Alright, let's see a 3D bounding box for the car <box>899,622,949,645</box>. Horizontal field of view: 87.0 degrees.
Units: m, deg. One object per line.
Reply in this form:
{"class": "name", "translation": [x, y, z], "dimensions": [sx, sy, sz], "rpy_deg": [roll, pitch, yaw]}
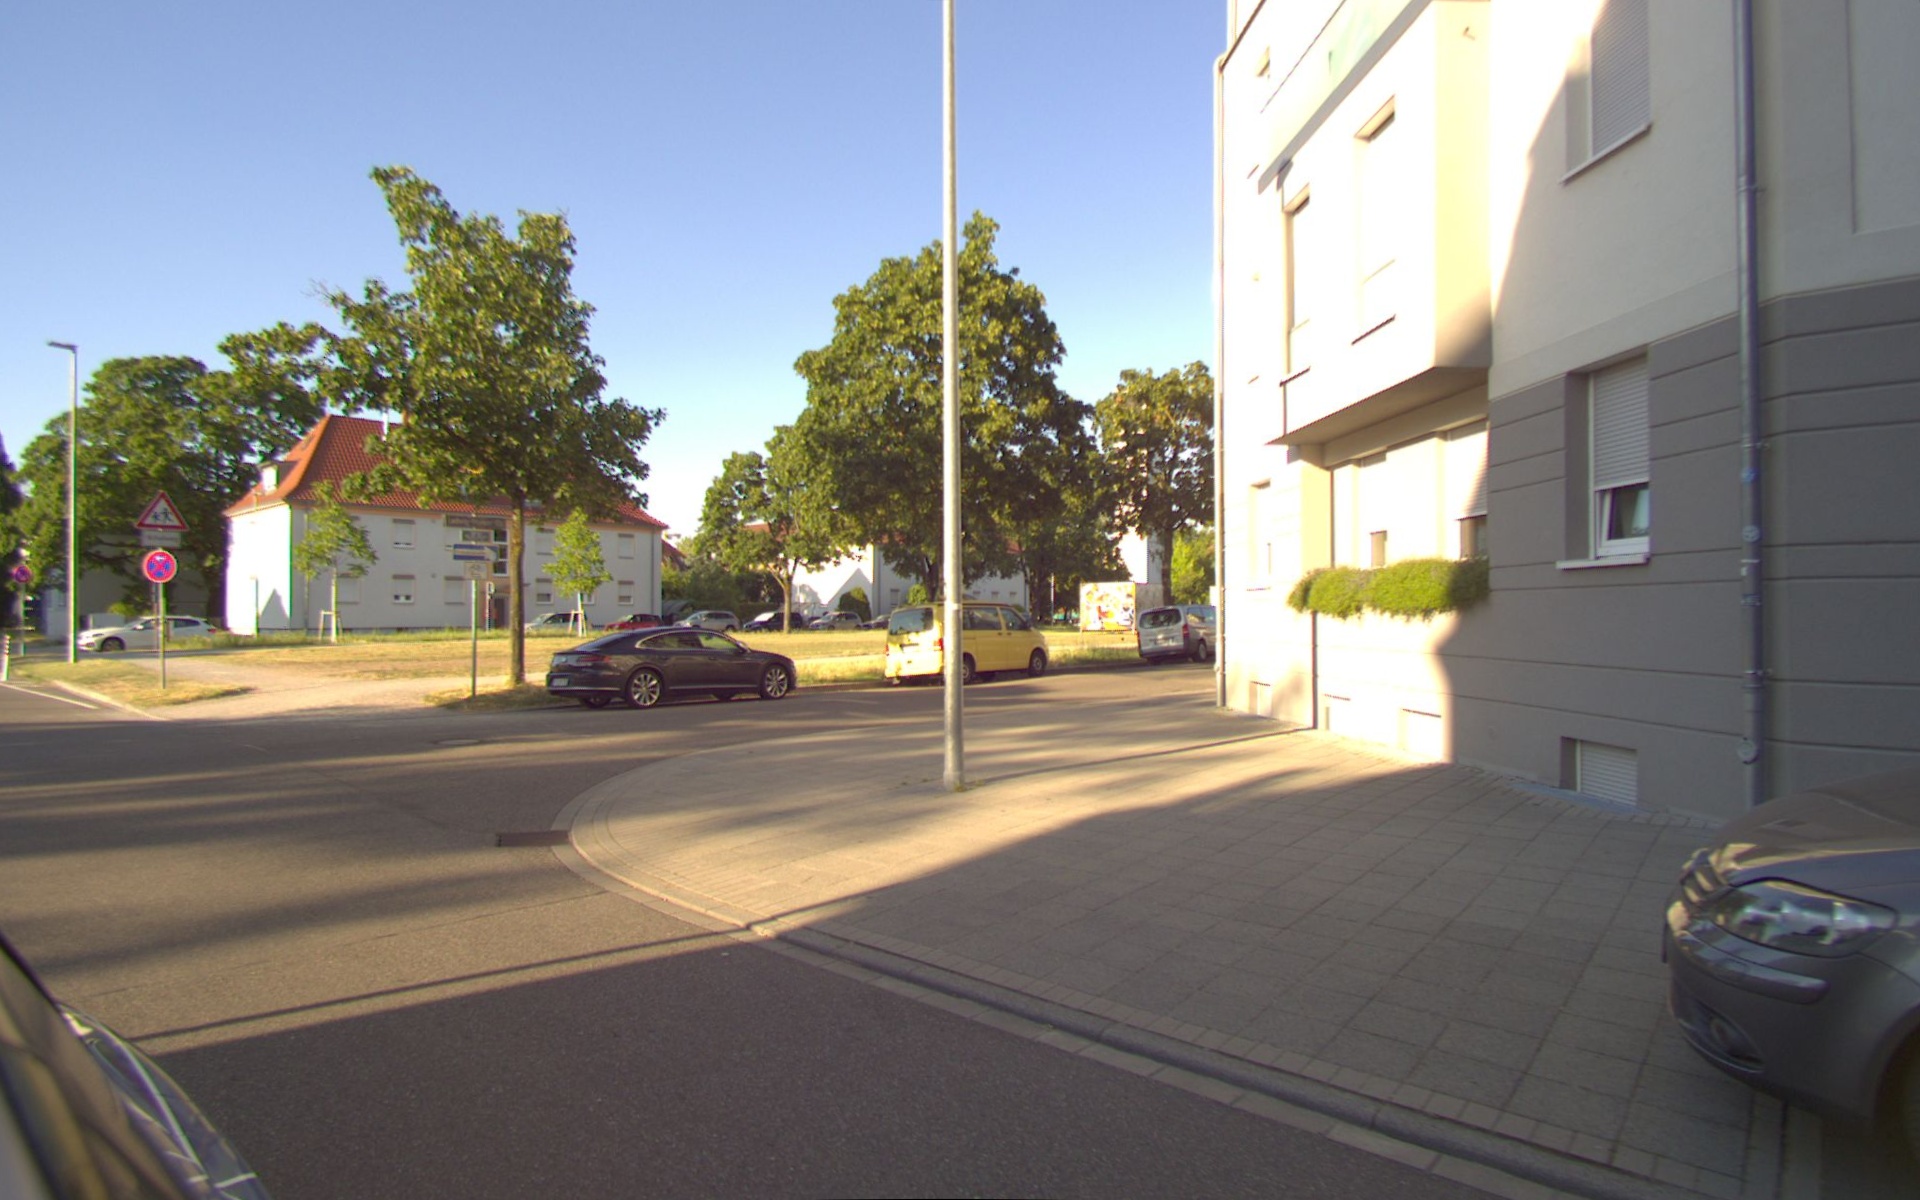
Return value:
{"class": "car", "translation": [-2.828, 2.618, 79.778], "dimensions": [1.849, 1.708, 3.948], "rpy_deg": [-3, -3, 39]}

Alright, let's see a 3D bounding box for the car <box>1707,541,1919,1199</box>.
{"class": "car", "translation": [4.098, 0.647, 2.052], "dimensions": [4.085, 1.603, 1.866], "rpy_deg": [-1, -2, 39]}

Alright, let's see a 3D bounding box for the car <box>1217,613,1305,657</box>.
{"class": "car", "translation": [11.458, 1.289, 38.430], "dimensions": [1.825, 1.592, 3.784], "rpy_deg": [-1, -2, 41]}

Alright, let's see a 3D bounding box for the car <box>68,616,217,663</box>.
{"class": "car", "translation": [-31.776, 1.525, 39.444], "dimensions": [1.869, 1.708, 4.245], "rpy_deg": [-3, -3, 38]}

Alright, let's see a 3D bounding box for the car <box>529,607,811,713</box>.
{"class": "car", "translation": [-5.125, 1.005, 18.477], "dimensions": [1.788, 1.682, 4.772], "rpy_deg": [-1, -2, 41]}

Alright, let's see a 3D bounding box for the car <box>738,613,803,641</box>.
{"class": "car", "translation": [-12.559, 1.785, 67.233], "dimensions": [1.849, 1.708, 3.948], "rpy_deg": [-3, -3, 39]}

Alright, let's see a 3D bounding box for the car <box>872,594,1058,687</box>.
{"class": "car", "translation": [0.224, 0.993, 24.965], "dimensions": [2.031, 2.029, 4.632], "rpy_deg": [-6, -5, 40]}

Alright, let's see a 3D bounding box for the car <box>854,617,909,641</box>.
{"class": "car", "translation": [-5.836, 2.157, 75.510], "dimensions": [1.849, 1.708, 3.948], "rpy_deg": [-3, -3, 39]}

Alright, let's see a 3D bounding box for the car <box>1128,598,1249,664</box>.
{"class": "car", "translation": [7.614, 0.992, 33.405], "dimensions": [2.078, 2.029, 4.514], "rpy_deg": [-1, -2, 40]}

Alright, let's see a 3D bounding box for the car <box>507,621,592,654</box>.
{"class": "car", "translation": [-22.533, 2.031, 55.662], "dimensions": [1.849, 1.708, 3.948], "rpy_deg": [-3, -3, 39]}

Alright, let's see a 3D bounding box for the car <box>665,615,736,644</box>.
{"class": "car", "translation": [-16.115, 1.854, 63.004], "dimensions": [1.849, 1.708, 3.948], "rpy_deg": [-3, -3, 39]}

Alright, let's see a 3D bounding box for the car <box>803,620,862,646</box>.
{"class": "car", "translation": [-8.960, 2.304, 71.487], "dimensions": [1.849, 1.708, 3.948], "rpy_deg": [-3, -3, 39]}

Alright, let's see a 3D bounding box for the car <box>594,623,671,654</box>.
{"class": "car", "translation": [-19.239, 2.248, 59.587], "dimensions": [1.849, 1.708, 3.948], "rpy_deg": [-3, -3, 39]}
